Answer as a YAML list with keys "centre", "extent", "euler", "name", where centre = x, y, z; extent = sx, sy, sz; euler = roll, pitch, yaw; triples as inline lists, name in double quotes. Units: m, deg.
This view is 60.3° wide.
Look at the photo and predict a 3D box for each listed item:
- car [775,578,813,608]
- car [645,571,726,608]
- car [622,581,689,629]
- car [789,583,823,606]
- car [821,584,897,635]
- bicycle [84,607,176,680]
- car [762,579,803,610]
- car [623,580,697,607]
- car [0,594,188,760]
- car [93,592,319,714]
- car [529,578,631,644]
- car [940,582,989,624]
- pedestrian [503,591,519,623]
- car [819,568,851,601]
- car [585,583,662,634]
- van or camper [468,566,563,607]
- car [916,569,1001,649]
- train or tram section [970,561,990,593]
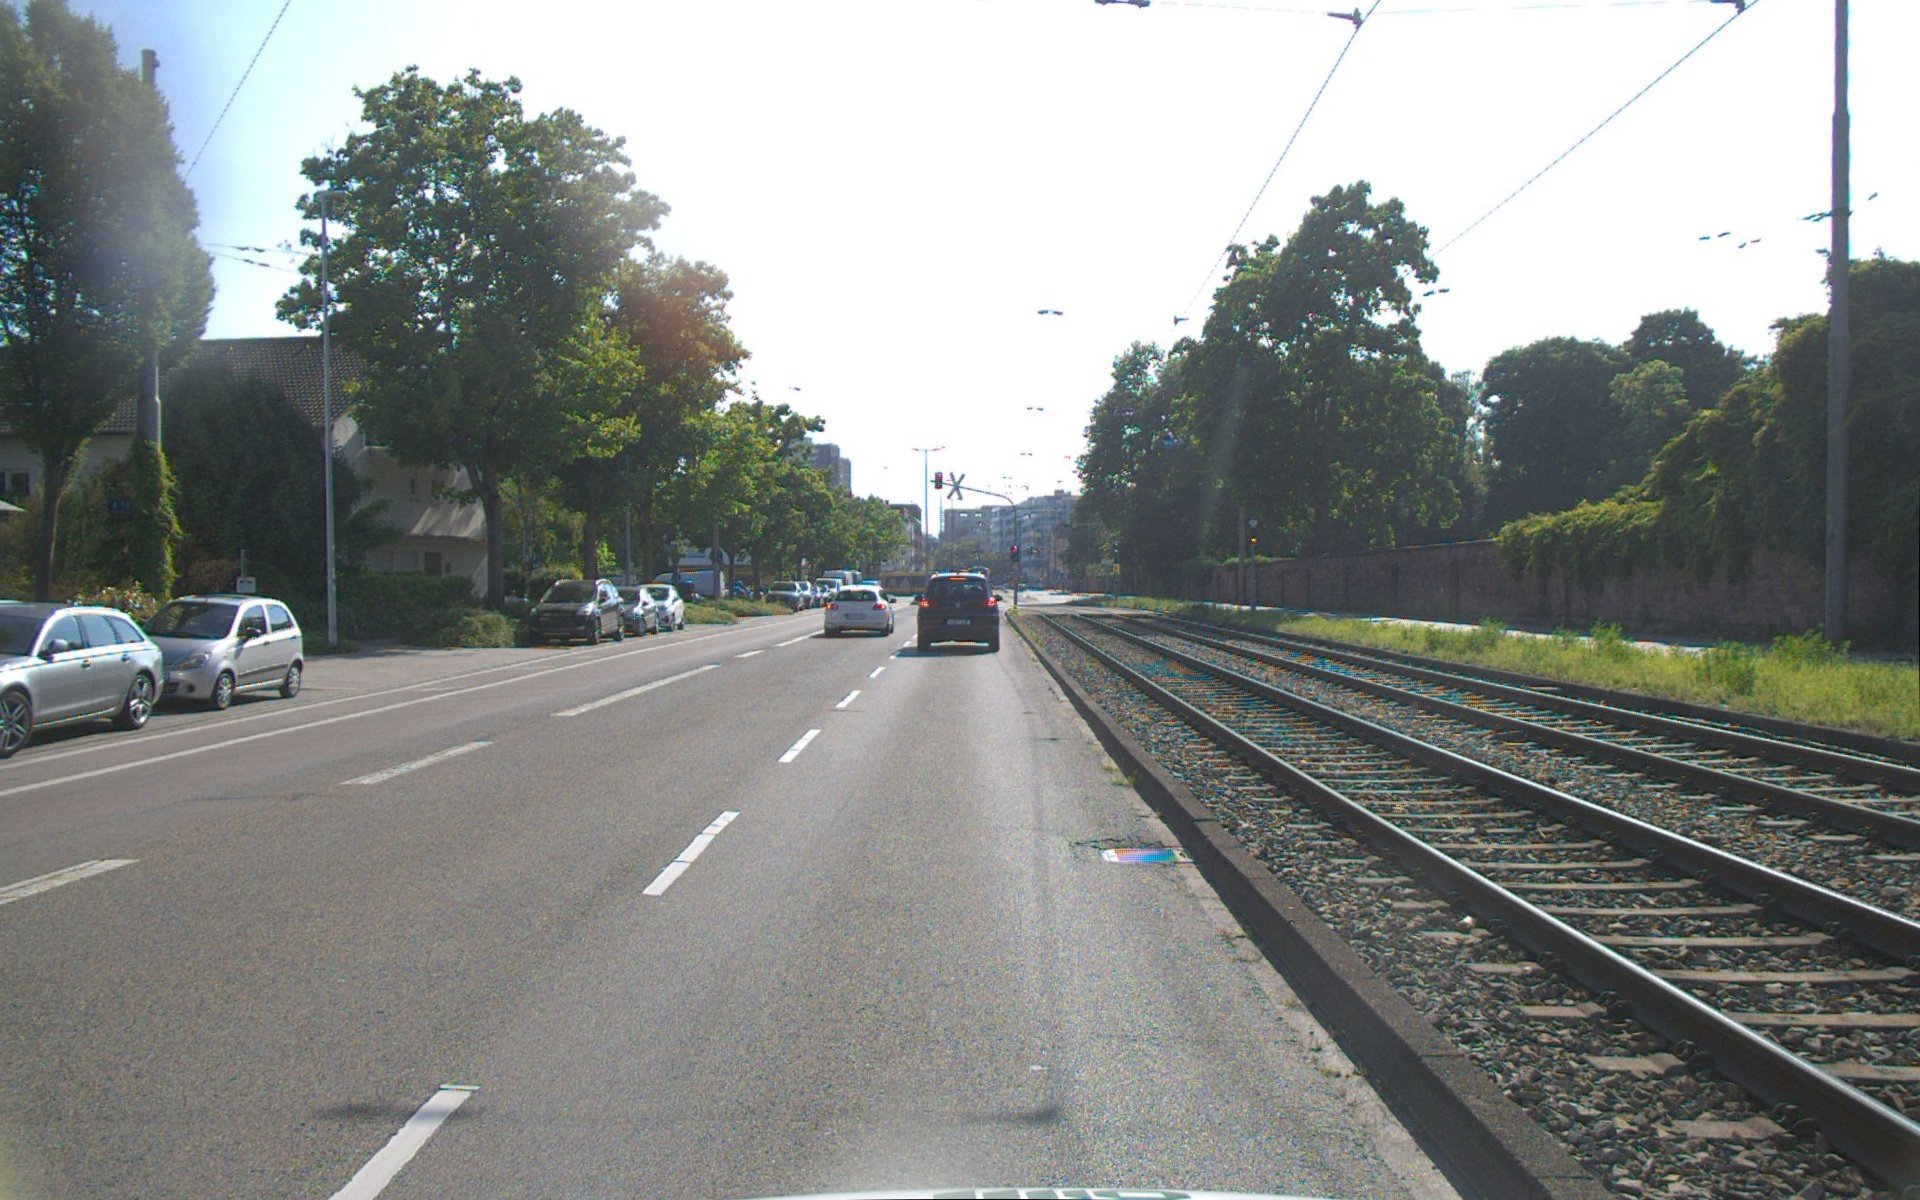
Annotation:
- centre: [-10.003, -0.433, 99.756]
  extent: [1.696, 1.724, 4.002]
  euler: [-1, 1, 2]
  name: "car"
- centre: [-19.438, -0.745, 117.229]
  extent: [5.264, 2.466, 2.088]
  euler: [-1, 1, 1]
  name: "car"
- centre: [-10.451, 0.142, 56.955]
  extent: [1.568, 1.577, 3.894]
  euler: [1, 1, 0]
  name: "car"
- centre: [-9.851, -0.368, 106.065]
  extent: [1.696, 1.413, 3.736]
  euler: [-1, 1, 2]
  name: "car"
- centre: [-2.790, 0.235, 46.527]
  extent: [1.826, 1.371, 4.001]
  euler: [0, 1, 1]
  name: "car"
- centre: [-13.783, 0.706, 27.502]
  extent: [0.434, 1.174, 1.786]
  euler: [-1, 0, 7]
  name: "bicycle"
- centre: [-10.077, -0.316, 94.088]
  extent: [1.696, 1.686, 4.001]
  euler: [-1, 1, 2]
  name: "car"
- centre: [-19.784, -0.450, 109.213]
  extent: [4.524, 1.680, 2.049]
  euler: [-1, 1, -1]
  name: "car"
- centre: [-10.613, 0.775, 18.566]
  extent: [1.714, 1.537, 4.754]
  euler: [4, 1, -2]
  name: "car"
- centre: [-10.786, 0.699, 23.920]
  extent: [1.569, 1.520, 3.509]
  euler: [4, 1, 0]
  name: "car"
- centre: [-10.364, 0.262, 45.443]
  extent: [1.676, 1.723, 4.423]
  euler: [-1, 1, 1]
  name: "car"
- centre: [0.186, 0.093, 61.953]
  extent: [1.774, 1.474, 4.000]
  euler: [1, 1, 1]
  name: "car"
- centre: [-17.230, 0.269, 63.458]
  extent: [0.435, 1.238, 0.391]
  euler: [-1, 0, 9]
  name: "pedestrian"
- centre: [-9.335, -1.154, 123.937]
  extent: [1.824, 2.388, 4.986]
  euler: [-1, 1, 2]
  name: "car"
- centre: [-10.395, 0.244, 51.318]
  extent: [1.643, 1.494, 3.967]
  euler: [-1, 1, -1]
  name: "car"
- centre: [-32.754, -0.997, 122.089]
  extent: [6.330, 2.918, 2.308]
  euler: [0, 0, 1]
  name: "van or camper"
- centre: [-0.003, 0.173, 36.601]
  extent: [1.774, 1.673, 4.001]
  euler: [0, 0, 1]
  name: "car"
- centre: [2.363, -2.648, 193.061]
  extent: [2.278, 3.632, 8.901]
  euler: [-1, 1, 1]
  name: "train or tram section"
